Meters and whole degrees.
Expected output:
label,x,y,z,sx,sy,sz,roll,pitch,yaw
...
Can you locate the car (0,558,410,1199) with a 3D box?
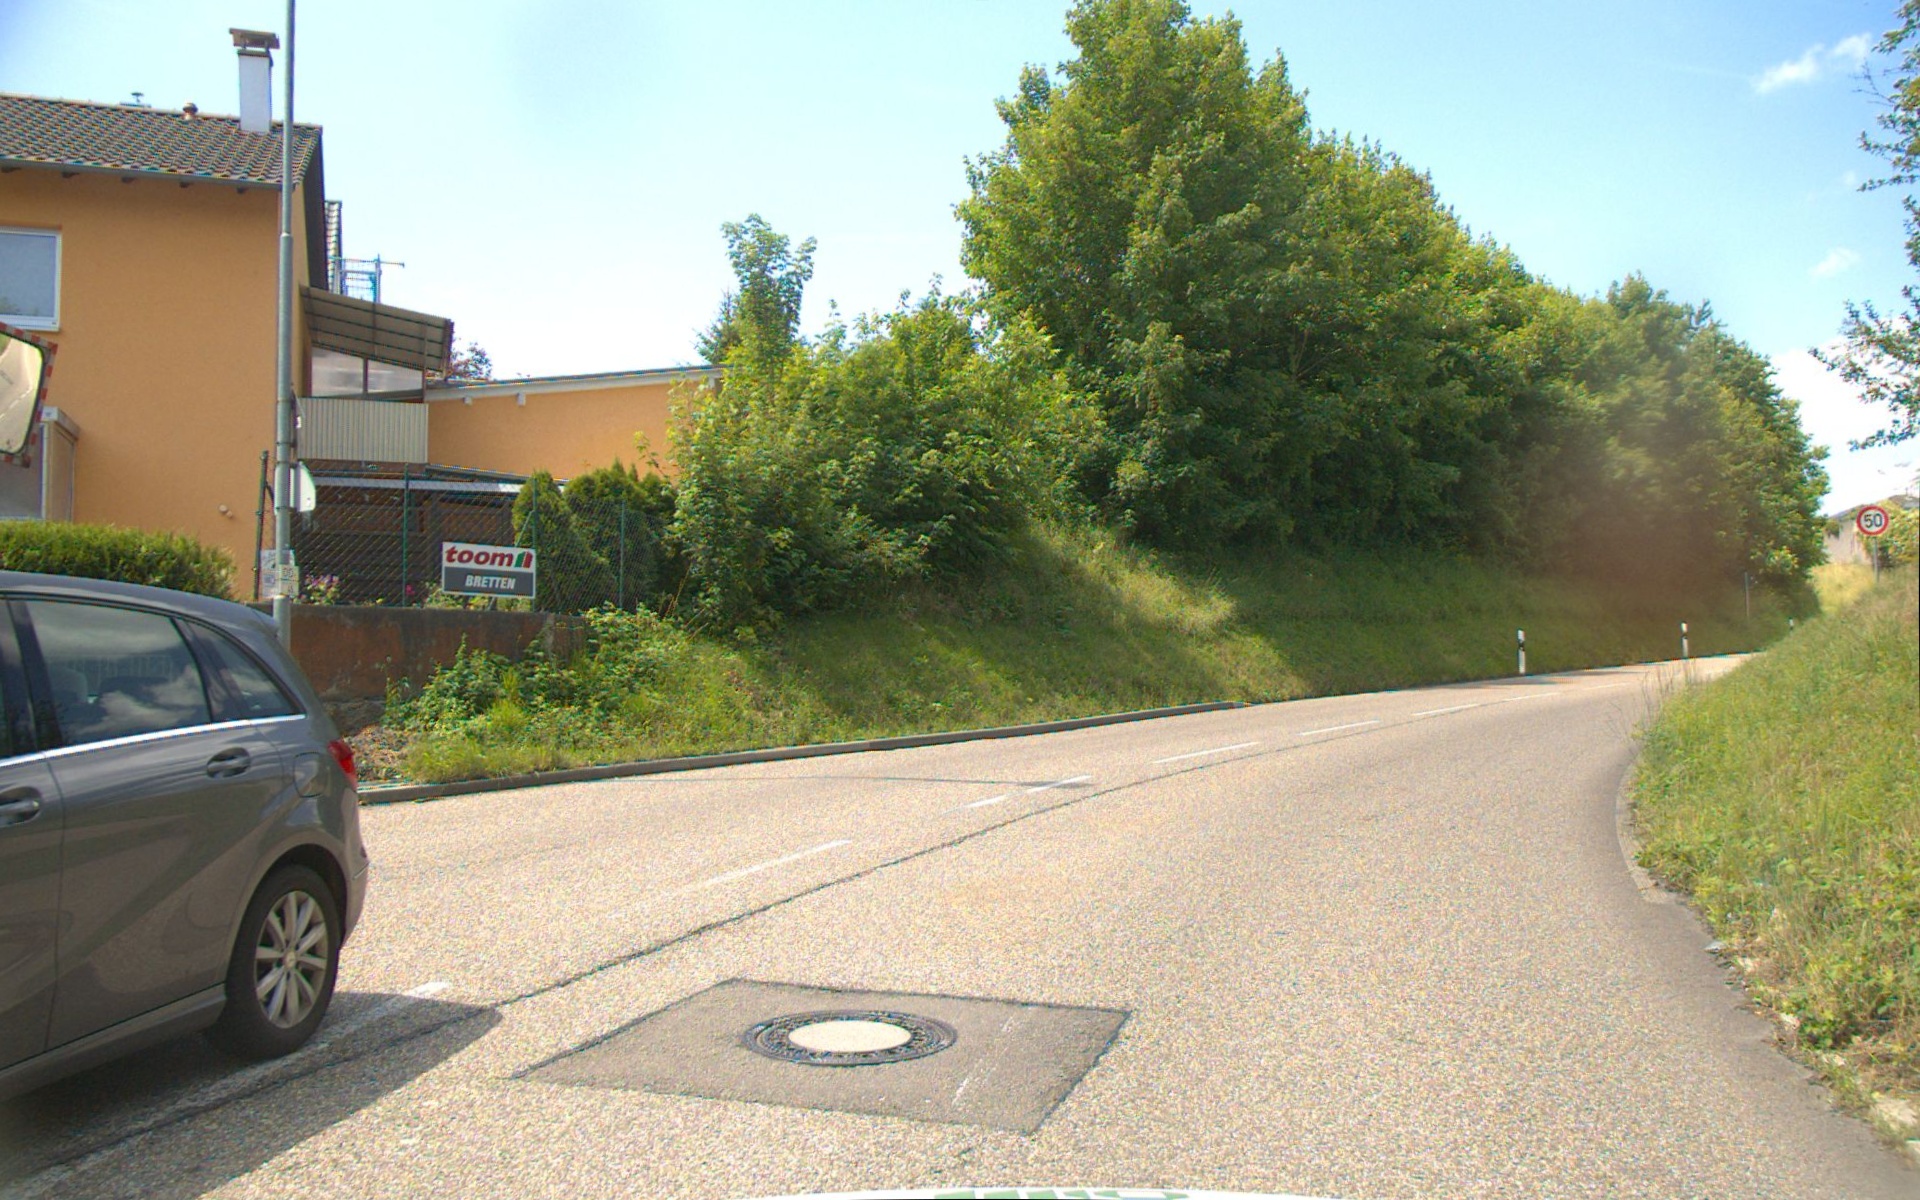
label,x,y,z,sx,sy,sz,roll,pitch,yaw
car,-3.201,0.675,4.147,1.682,1.583,4.132,1,-1,10
